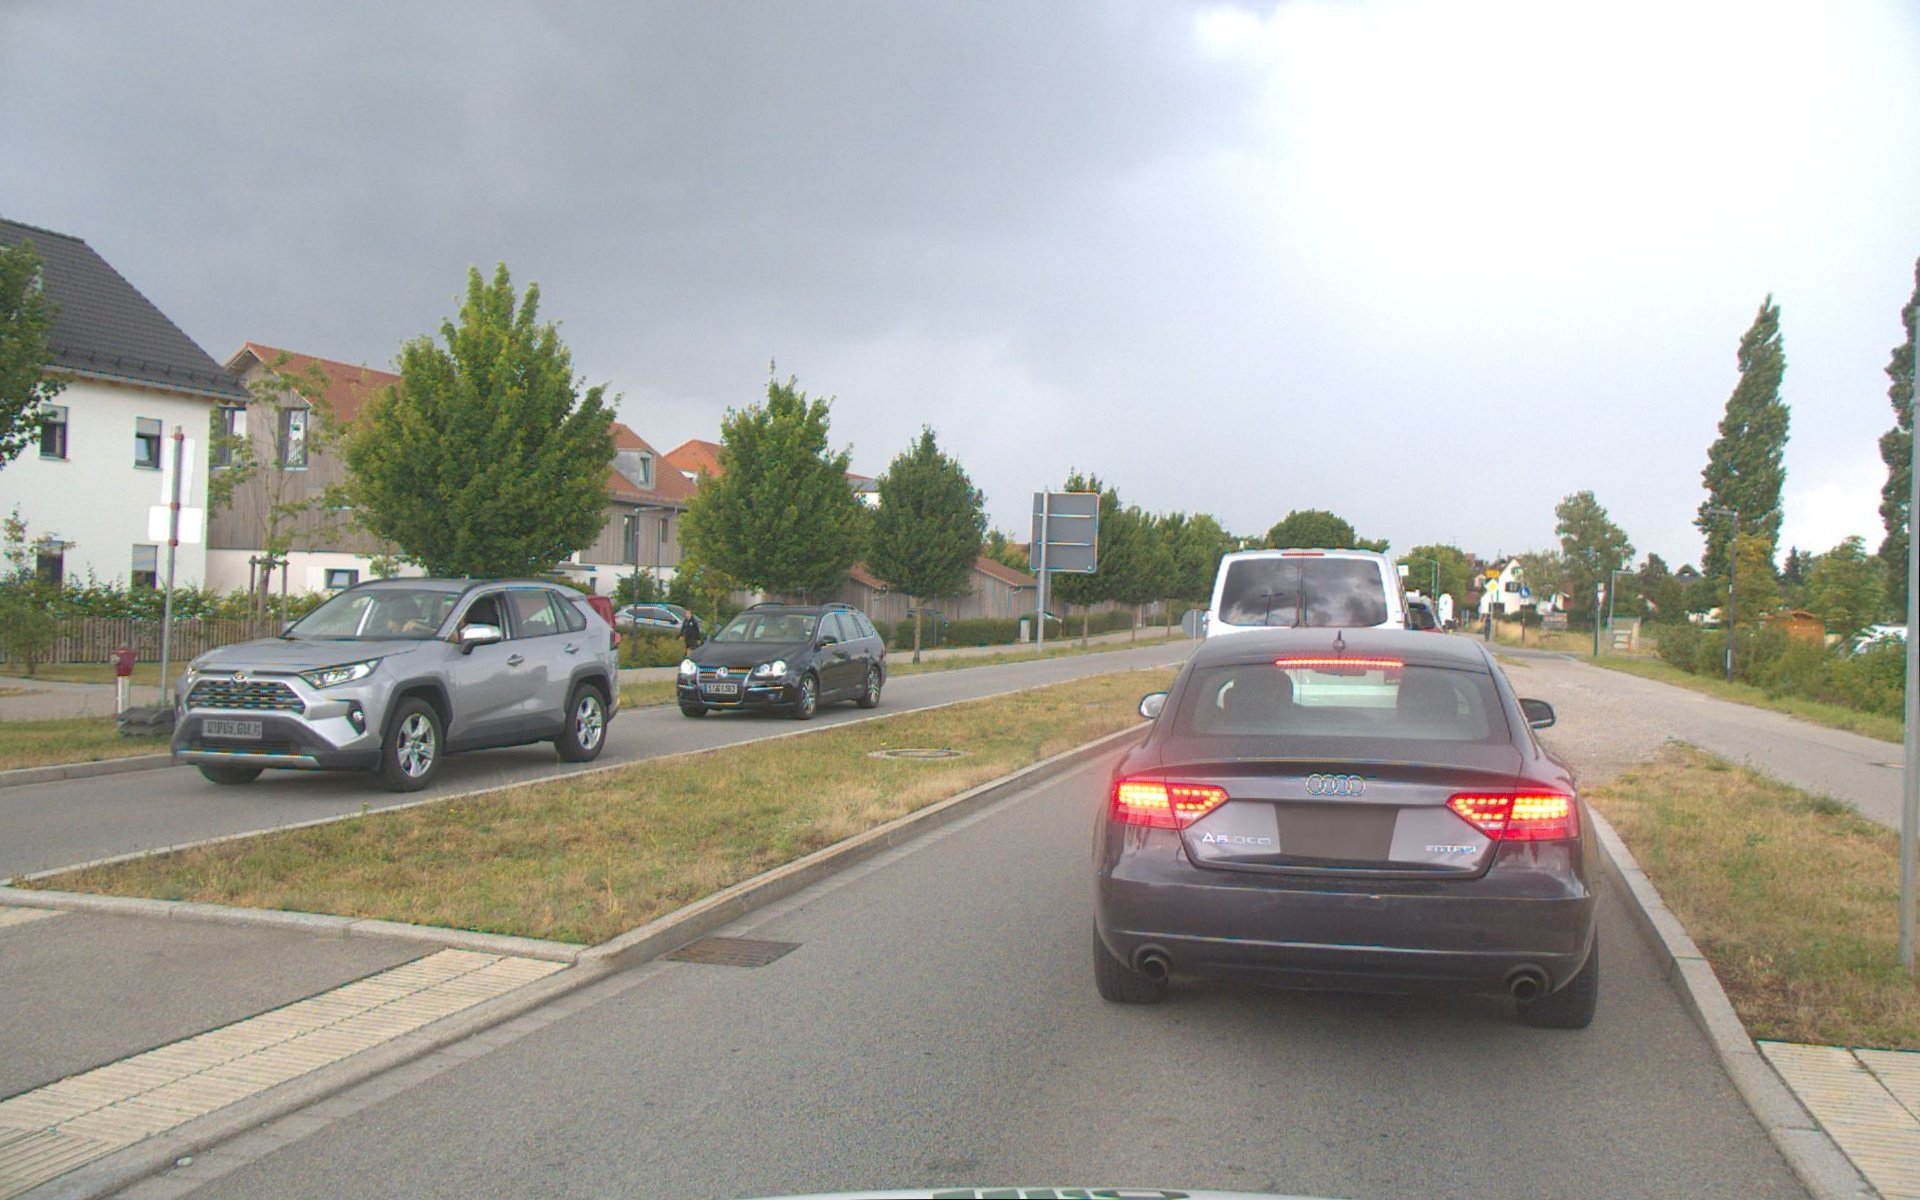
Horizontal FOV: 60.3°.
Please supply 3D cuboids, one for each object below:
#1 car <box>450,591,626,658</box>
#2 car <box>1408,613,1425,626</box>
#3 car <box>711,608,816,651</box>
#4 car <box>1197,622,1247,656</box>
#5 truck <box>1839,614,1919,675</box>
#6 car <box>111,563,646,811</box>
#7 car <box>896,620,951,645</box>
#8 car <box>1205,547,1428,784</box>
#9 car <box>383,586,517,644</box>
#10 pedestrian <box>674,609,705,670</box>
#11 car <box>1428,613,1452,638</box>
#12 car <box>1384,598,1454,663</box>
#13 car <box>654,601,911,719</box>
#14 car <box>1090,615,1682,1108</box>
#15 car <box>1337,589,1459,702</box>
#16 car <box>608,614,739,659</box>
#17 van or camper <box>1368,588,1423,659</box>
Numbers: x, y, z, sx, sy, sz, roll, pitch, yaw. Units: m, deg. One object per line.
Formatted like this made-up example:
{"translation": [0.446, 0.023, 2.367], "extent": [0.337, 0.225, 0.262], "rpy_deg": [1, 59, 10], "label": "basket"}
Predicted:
{"translation": [-11.923, 0.667, 46.789], "extent": [4.436, 1.709, 2.001], "rpy_deg": [2, 0, 19], "label": "car"}
{"translation": [47.365, 2.038, 171.599], "extent": [1.579, 1.294, 3.463], "rpy_deg": [2, 0, 16], "label": "car"}
{"translation": [-7.641, 1.125, 64.467], "extent": [3.650, 1.508, 1.688], "rpy_deg": [2, 0, 13], "label": "car"}
{"translation": [12.137, 1.778, 76.451], "extent": [1.694, 1.434, 4.208], "rpy_deg": [2, 0, 17], "label": "car"}
{"translation": [32.058, 1.530, 54.853], "extent": [4.694, 1.905, 2.002], "rpy_deg": [2, 0, 11], "label": "truck"}
{"translation": [-4.644, 0.621, 14.114], "extent": [1.951, 1.733, 4.637], "rpy_deg": [1, 0, 16], "label": "car"}
{"translation": [-1.737, 1.535, 78.690], "extent": [2.419, 1.046, 1.186], "rpy_deg": [2, 0, 10], "label": "car"}
{"translation": [3.449, 0.556, 15.907], "extent": [1.827, 1.968, 4.003], "rpy_deg": [-1, 0, 13], "label": "car"}
{"translation": [-17.180, 0.526, 55.923], "extent": [1.952, 1.803, 4.466], "rpy_deg": [2, 0, 20], "label": "car"}
{"translation": [-7.139, 1.033, 43.679], "extent": [0.569, 1.586, 0.660], "rpy_deg": [2, 0, 14], "label": "pedestrian"}
{"translation": [34.372, 1.817, 118.451], "extent": [1.579, 1.659, 3.618], "rpy_deg": [2, 0, 16], "label": "car"}
{"translation": [12.422, 0.811, 44.842], "extent": [1.739, 1.646, 4.003], "rpy_deg": [1, -1, 15], "label": "car"}
{"translation": [-2.270, 0.757, 22.477], "extent": [1.717, 1.441, 4.456], "rpy_deg": [-1, -1, 19], "label": "car"}
{"translation": [1.744, 0.785, 7.065], "extent": [1.746, 1.416, 4.136], "rpy_deg": [0, 0, 13], "label": "car"}
{"translation": [7.144, 0.694, 26.981], "extent": [1.739, 1.646, 4.003], "rpy_deg": [2, 0, 15], "label": "car"}
{"translation": [-9.494, 1.200, 54.901], "extent": [3.831, 1.338, 1.844], "rpy_deg": [2, 0, 13], "label": "car"}
{"translation": [22.490, 1.230, 85.439], "extent": [2.569, 3.382, 6.825], "rpy_deg": [2, -1, 15], "label": "van or camper"}
